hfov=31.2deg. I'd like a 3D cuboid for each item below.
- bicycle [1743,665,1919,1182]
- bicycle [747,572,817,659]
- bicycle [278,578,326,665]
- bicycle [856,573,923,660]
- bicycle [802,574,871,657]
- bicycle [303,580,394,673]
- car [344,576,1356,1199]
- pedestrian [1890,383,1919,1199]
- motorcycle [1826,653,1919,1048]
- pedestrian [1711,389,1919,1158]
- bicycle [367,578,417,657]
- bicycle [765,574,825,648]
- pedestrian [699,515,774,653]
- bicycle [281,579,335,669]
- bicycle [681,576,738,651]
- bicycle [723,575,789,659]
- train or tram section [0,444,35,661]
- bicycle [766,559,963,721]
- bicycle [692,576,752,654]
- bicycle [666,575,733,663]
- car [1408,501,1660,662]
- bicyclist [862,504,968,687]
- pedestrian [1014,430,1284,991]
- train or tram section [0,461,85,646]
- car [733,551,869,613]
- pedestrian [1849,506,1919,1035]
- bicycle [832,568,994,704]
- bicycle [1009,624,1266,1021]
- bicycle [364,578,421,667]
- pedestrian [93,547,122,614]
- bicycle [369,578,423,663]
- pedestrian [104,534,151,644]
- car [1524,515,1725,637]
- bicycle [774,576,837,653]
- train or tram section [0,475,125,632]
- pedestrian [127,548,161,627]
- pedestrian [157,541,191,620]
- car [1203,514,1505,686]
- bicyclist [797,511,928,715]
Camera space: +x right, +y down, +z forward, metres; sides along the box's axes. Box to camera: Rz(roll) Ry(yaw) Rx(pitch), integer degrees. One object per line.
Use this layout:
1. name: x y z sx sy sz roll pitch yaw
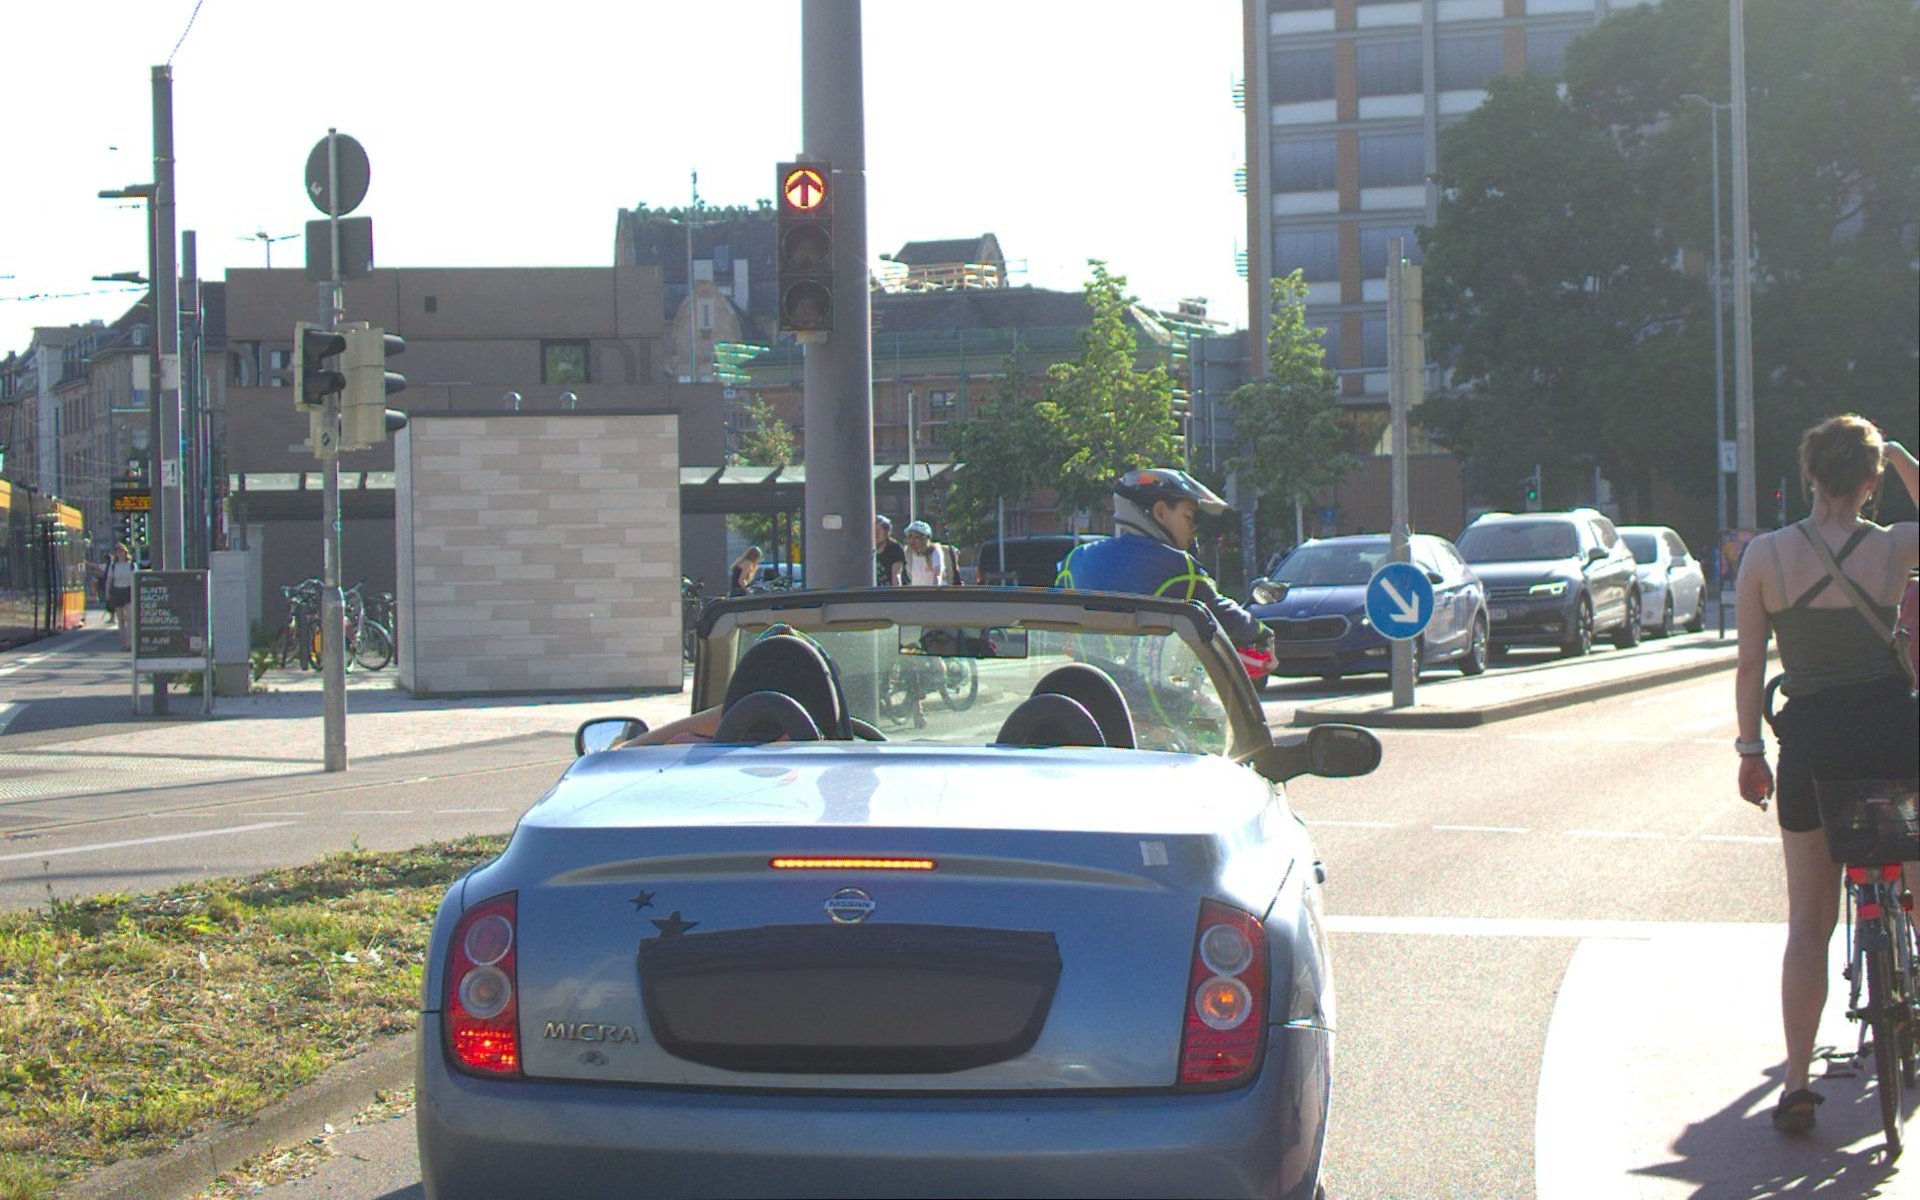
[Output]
1. bicycle: 2.369 0.774 8.978 0.564 1.147 1.948 1 1 14
2. bicycle: -2.356 0.192 45.265 0.606 1.111 1.897 1 1 -12
3. bicycle: -8.799 0.276 45.996 0.606 1.111 1.897 1 1 -11
4. bicycle: -0.946 0.208 45.567 0.606 1.111 1.897 1 1 -10
5. bicycle: -1.720 0.204 47.585 0.606 1.111 1.897 1 1 -12
6. bicycle: -7.544 0.318 42.466 0.607 1.111 1.896 1 1 5
7. car: 0.033 0.678 7.693 1.660 1.436 4.153 1 1 6
8. pedestrian: 2.489 0.457 7.398 0.806 1.862 0.956 1 0 8
9. motorcycle: 3.173 0.747 11.080 0.614 1.094 2.358 1 1 17
10. pedestrian: 2.287 0.415 8.785 0.659 1.862 0.872 1 0 15
11. bicycle: -8.329 0.245 50.340 0.606 1.111 1.897 1 1 -12
12. bicycle: -2.560 0.163 53.244 0.606 1.111 1.897 1 1 -12
13. pedestrian: -3.043 -0.219 46.783 0.900 1.862 0.687 1 0 -12
14. bicycle: -8.364 0.301 44.071 0.606 1.111 1.897 1 1 -12
15. bicycle: -3.874 0.200 53.037 0.606 1.111 1.897 1 1 -12
16. bicycle: -2.807 0.225 47.197 0.606 1.111 1.897 1 1 -12
17. train or tram section: -18.166 -0.851 60.681 2.880 3.584 12.203 1 1 -12
18. bicycle: -0.772 0.314 28.853 0.675 1.246 2.454 -3 0 22
19. bicycle: -3.543 0.211 51.070 0.606 1.111 1.897 1 1 -12
20. bicycle: -3.429 0.238 45.124 0.606 1.111 1.897 1 1 -12
21. car: 6.690 -0.243 39.719 1.763 1.700 4.525 -2 0 24
22. bicyclist: -0.408 -0.045 31.488 0.709 1.651 0.742 -1 1 22
23. pedestrian: 0.674 0.361 11.966 0.833 1.862 0.920 1 0 8
24. train or tram section: -20.508 -0.991 72.671 3.011 3.584 12.203 1 1 -10
25. car: -4.121 -0.456 88.689 1.640 1.555 3.599 -2 1 -39
26. pedestrian: 3.133 0.512 10.815 0.588 1.593 1.024 1 0 17
27. bicycle: -0.407 0.311 31.467 0.675 1.176 2.181 -1 1 22
28. bicycle: 0.658 0.700 11.902 0.608 1.187 2.414 1 1 9
29. bicycle: -7.339 0.279 44.402 0.606 1.111 1.897 1 1 -12
30. pedestrian: -22.294 -0.513 89.927 0.604 1.743 0.832 -1 1 -8
31. bicycle: -7.628 0.267 46.465 0.606 1.111 1.897 1 1 -12
32. pedestrian: -13.357 -0.173 55.140 0.637 1.743 0.572 -1 1 -19
33. car: 9.002 -0.346 46.330 1.697 1.555 3.974 -1 1 25
34. bicycle: -2.312 0.208 51.273 0.606 1.111 1.897 1 1 -12
35. train or tram section: -22.576 -1.139 84.598 3.039 3.584 12.055 1 1 -9
36. pedestrian: -18.126 -0.285 76.334 0.637 1.743 0.736 -1 1 -19
37. pedestrian: -17.581 -0.447 76.861 0.637 1.743 0.736 -1 1 -19
38. car: 3.915 -0.012 33.634 1.739 1.568 3.919 1 1 25
39. bicyclist: -0.812 0.099 28.782 0.709 1.651 0.900 -3 0 22
